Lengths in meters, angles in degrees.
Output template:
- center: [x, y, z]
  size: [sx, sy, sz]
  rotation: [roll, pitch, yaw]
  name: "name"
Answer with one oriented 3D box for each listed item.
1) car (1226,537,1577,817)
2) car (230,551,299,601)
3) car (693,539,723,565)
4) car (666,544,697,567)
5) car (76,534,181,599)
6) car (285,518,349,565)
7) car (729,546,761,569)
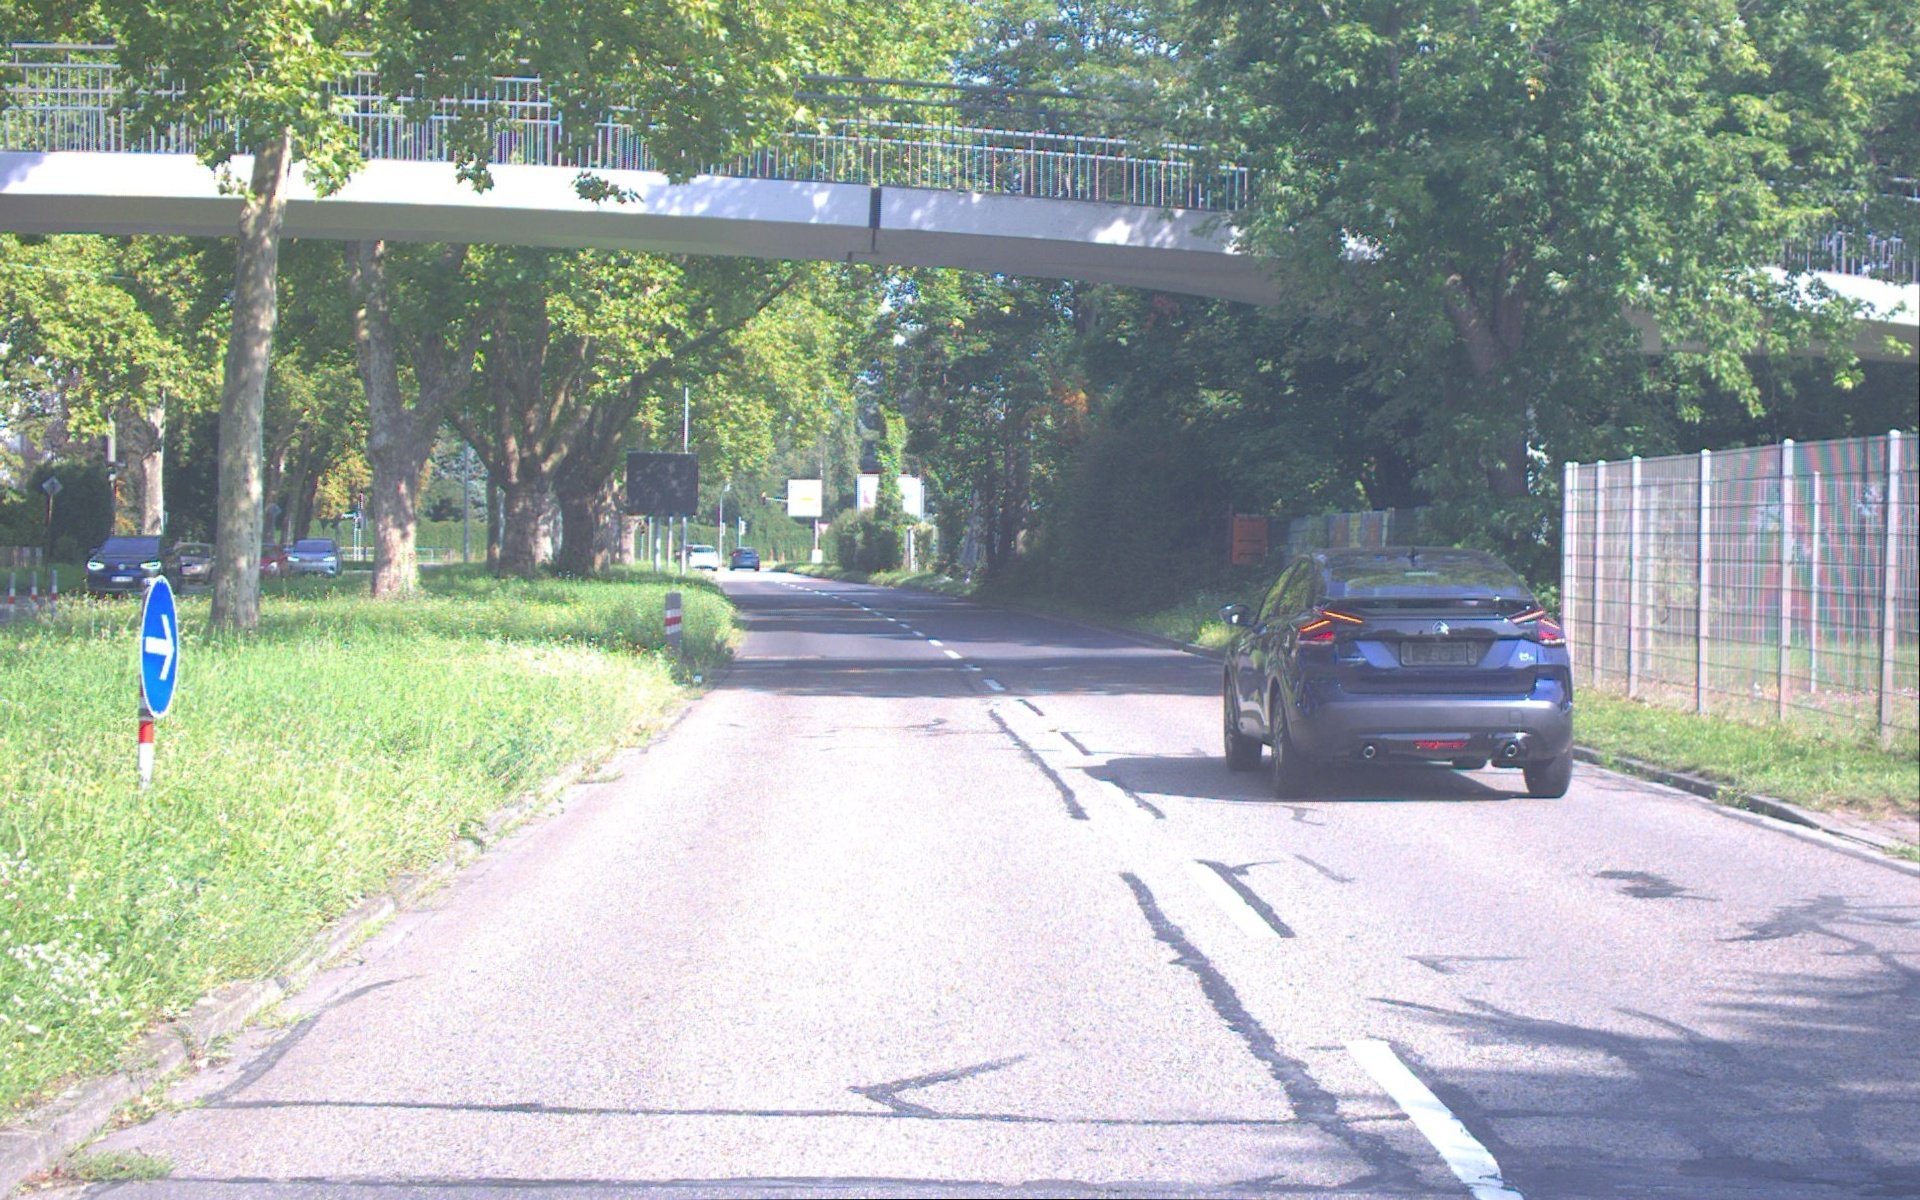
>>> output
- center: [2.714, 0.417, 21.981]
  size: [1.645, 1.583, 4.255]
  rotation: [1, 1, 0]
  name: "car"
- center: [-22.328, -0.793, 110.466]
  size: [1.690, 1.527, 4.070]
  rotation: [1, 1, -5]
  name: "car"
- center: [-14.770, -2.815, 201.257]
  size: [1.687, 1.457, 4.001]
  rotation: [1, 1, -5]
  name: "car"
- center: [-17.597, -2.820, 217.534]
  size: [1.687, 1.457, 3.850]
  rotation: [1, 1, -1]
  name: "car"
- center: [-20.656, -0.844, 85.552]
  size: [1.787, 1.527, 4.456]
  rotation: [1, 1, -4]
  name: "car"
- center: [-24.128, -2.219, 129.059]
  size: [1.802, 1.714, 4.721]
  rotation: [0, 1, -4]
  name: "car"
- center: [-13.365, -2.641, 213.405]
  size: [1.797, 1.396, 4.001]
  rotation: [1, 1, -6]
  name: "car"
